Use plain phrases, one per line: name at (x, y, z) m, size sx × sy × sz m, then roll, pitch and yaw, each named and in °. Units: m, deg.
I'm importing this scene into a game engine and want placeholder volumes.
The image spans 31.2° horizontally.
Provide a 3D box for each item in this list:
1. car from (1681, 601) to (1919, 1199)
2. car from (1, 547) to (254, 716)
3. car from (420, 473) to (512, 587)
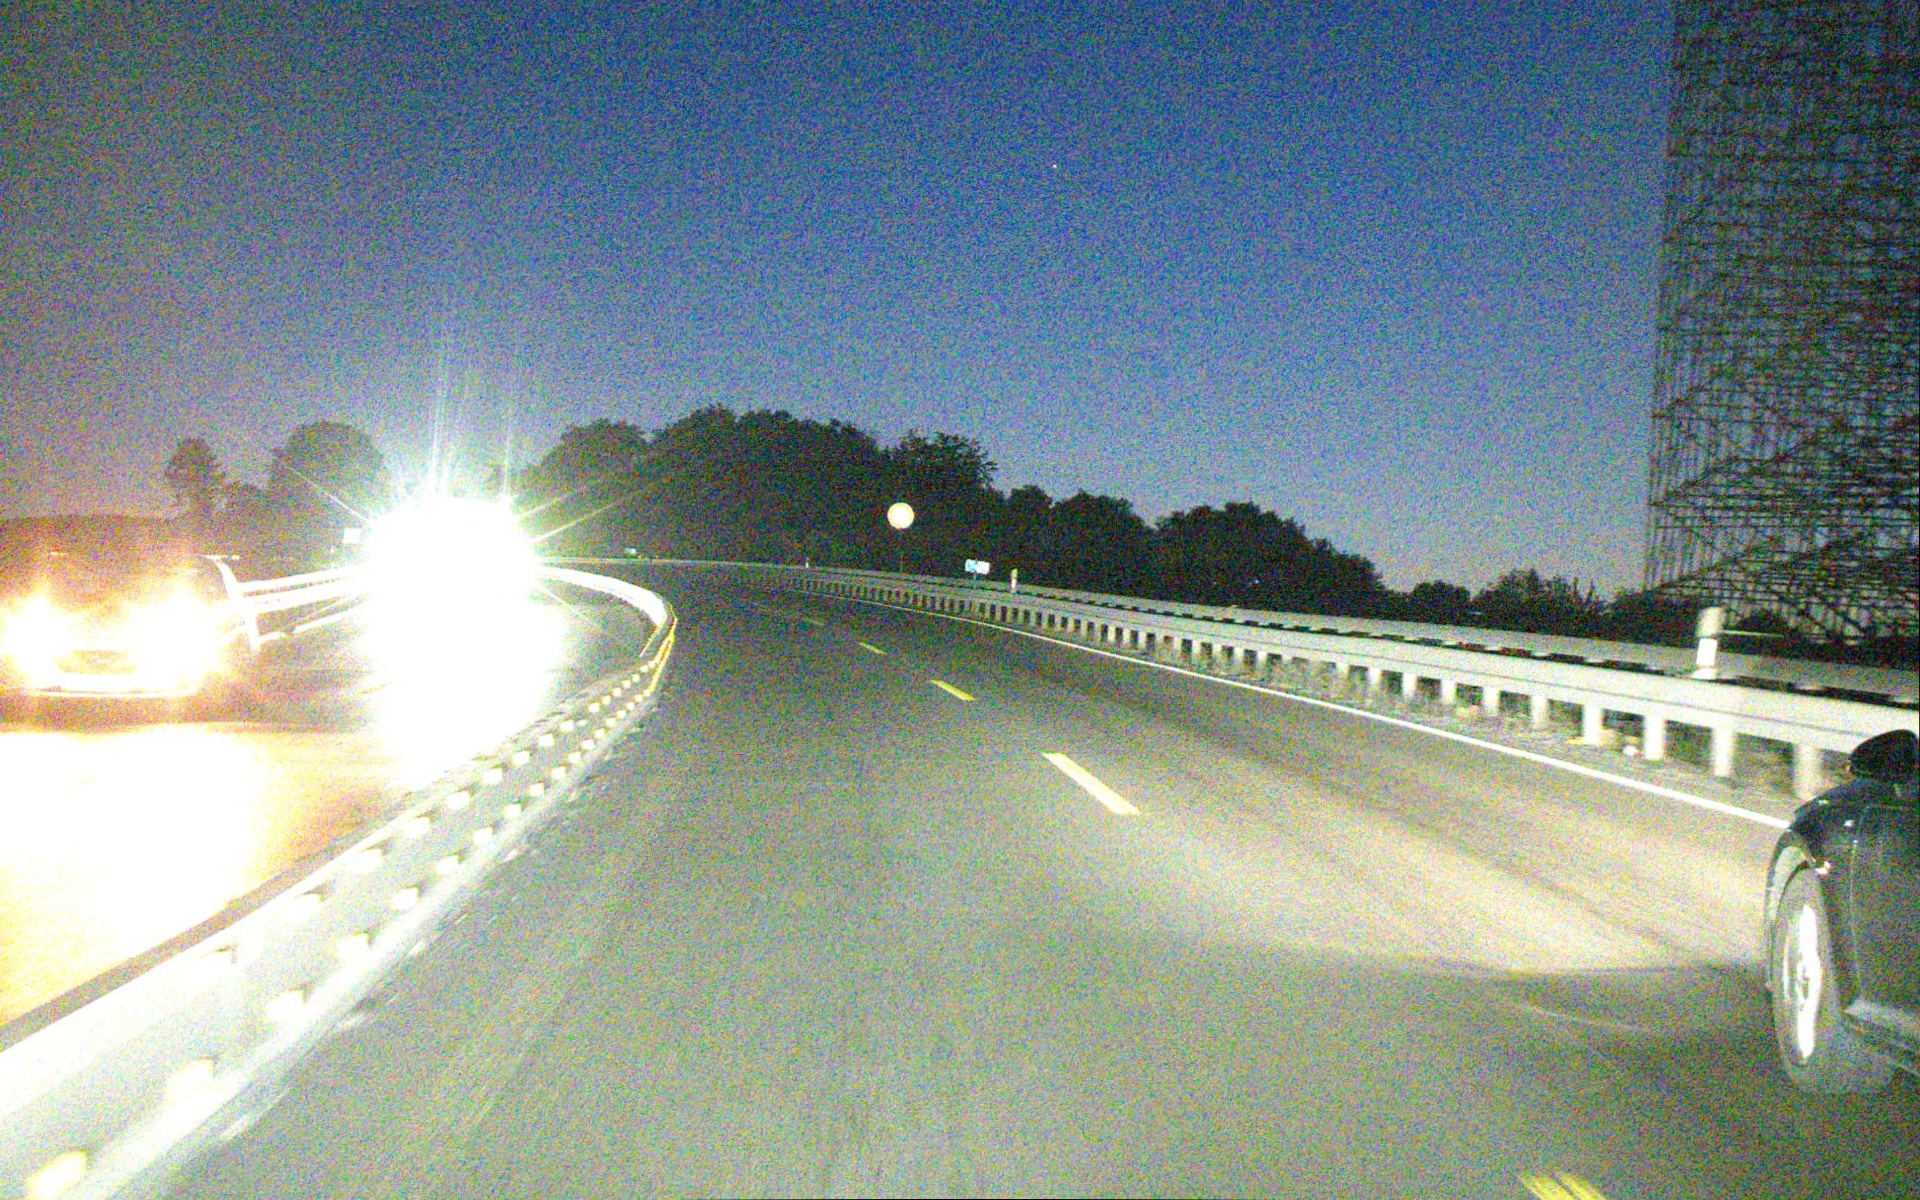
car at (3.233, 0.740, 8.232) m, size 1.808 × 1.422 × 4.875 m, roll 0°, pitch 1°, yaw -2°
car at (-7.619, 0.245, 31.794) m, size 1.684 × 1.454 × 4.201 m, roll 0°, pitch 1°, yaw -5°
car at (-14.075, -1.935, 97.795) m, size 2.485 × 3.095 × 7.387 m, roll 0°, pitch 0°, yaw -8°
